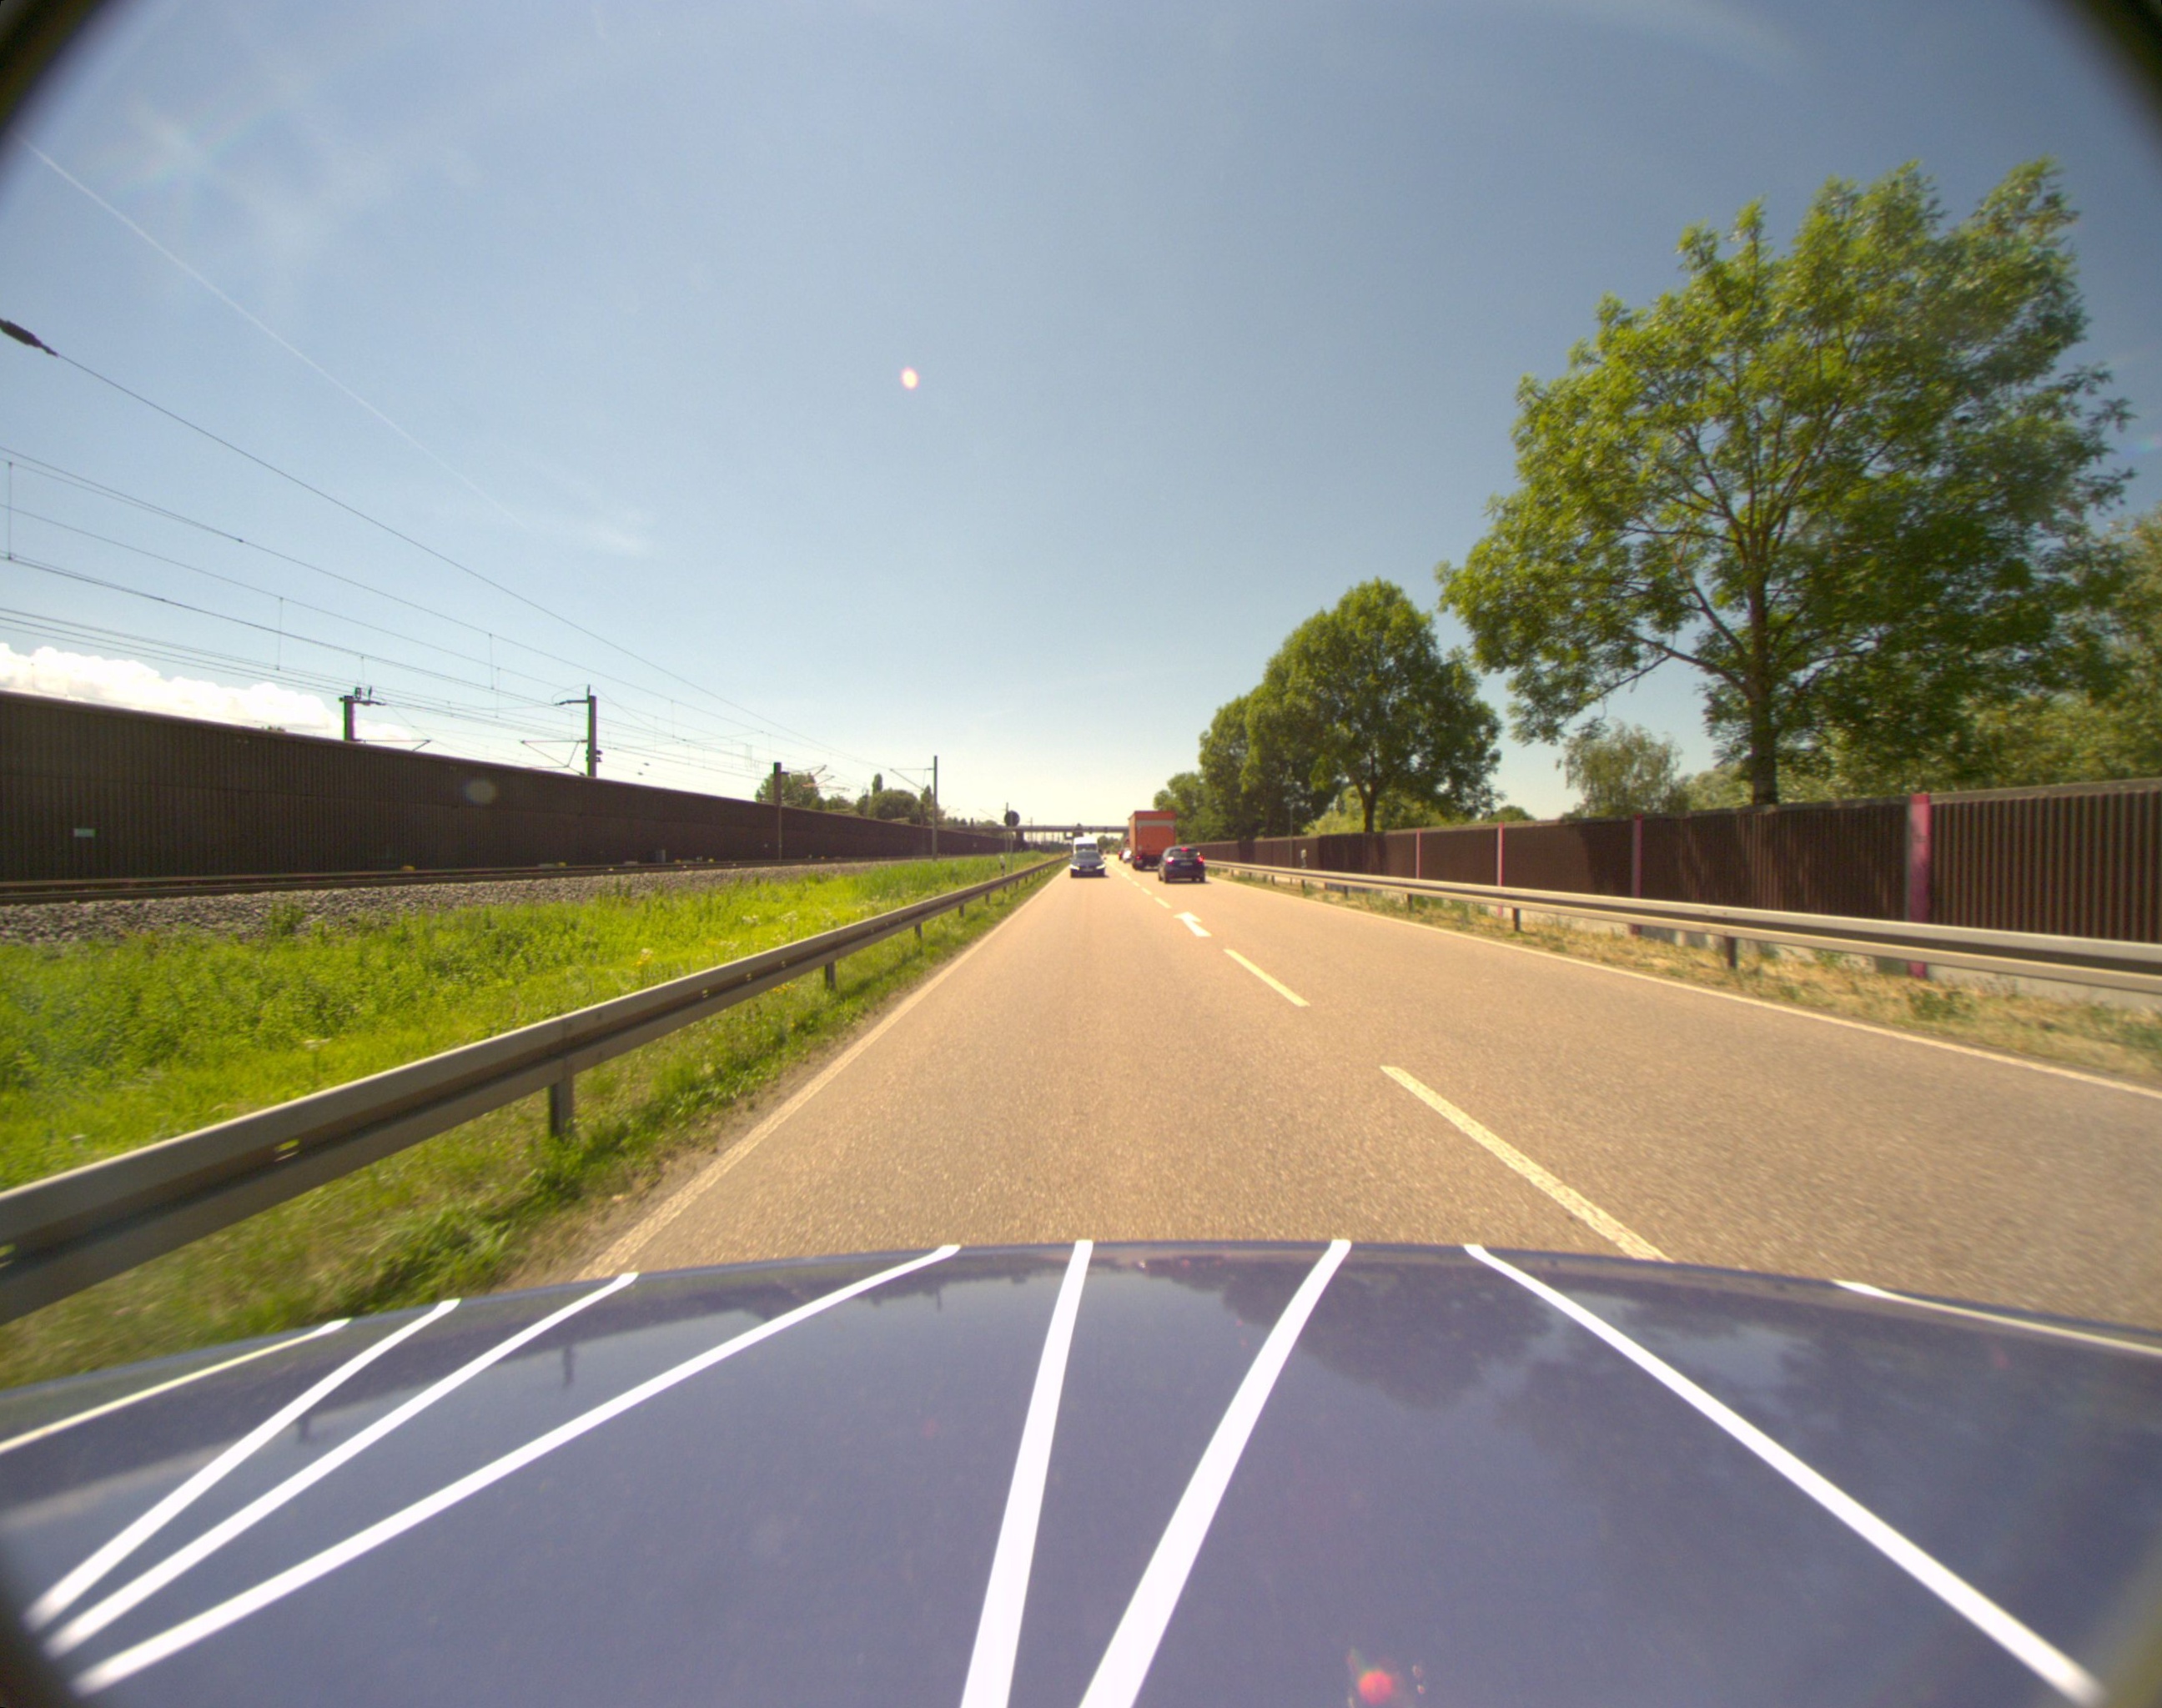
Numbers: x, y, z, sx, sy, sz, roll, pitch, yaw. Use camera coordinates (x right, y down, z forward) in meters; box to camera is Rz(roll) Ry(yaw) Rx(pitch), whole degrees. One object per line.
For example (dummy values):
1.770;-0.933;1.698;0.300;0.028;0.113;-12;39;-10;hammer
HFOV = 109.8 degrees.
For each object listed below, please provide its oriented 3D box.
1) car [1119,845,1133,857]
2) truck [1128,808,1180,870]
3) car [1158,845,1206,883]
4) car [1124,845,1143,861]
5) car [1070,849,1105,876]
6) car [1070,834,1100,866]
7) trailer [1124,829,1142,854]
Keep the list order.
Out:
5.958;-0.417;99.216;1.720;1.580;4.535;-1;1;4;car
4.871;-1.051;52.469;2.799;3.818;9.322;-2;1;1;truck
4.363;0.412;33.255;1.626;1.568;3.763;-1;0;1;car
5.205;-0.133;76.104;1.689;1.451;4.616;-2;1;2;car
0.406;0.429;41.584;1.847;1.415;4.562;0;1;2;car
0.410;-0.335;63.409;2.227;2.480;5.983;-1;0;2;car
9.051;-2.204;133.199;2.696;4.022;14.124;-2;1;2;trailer
